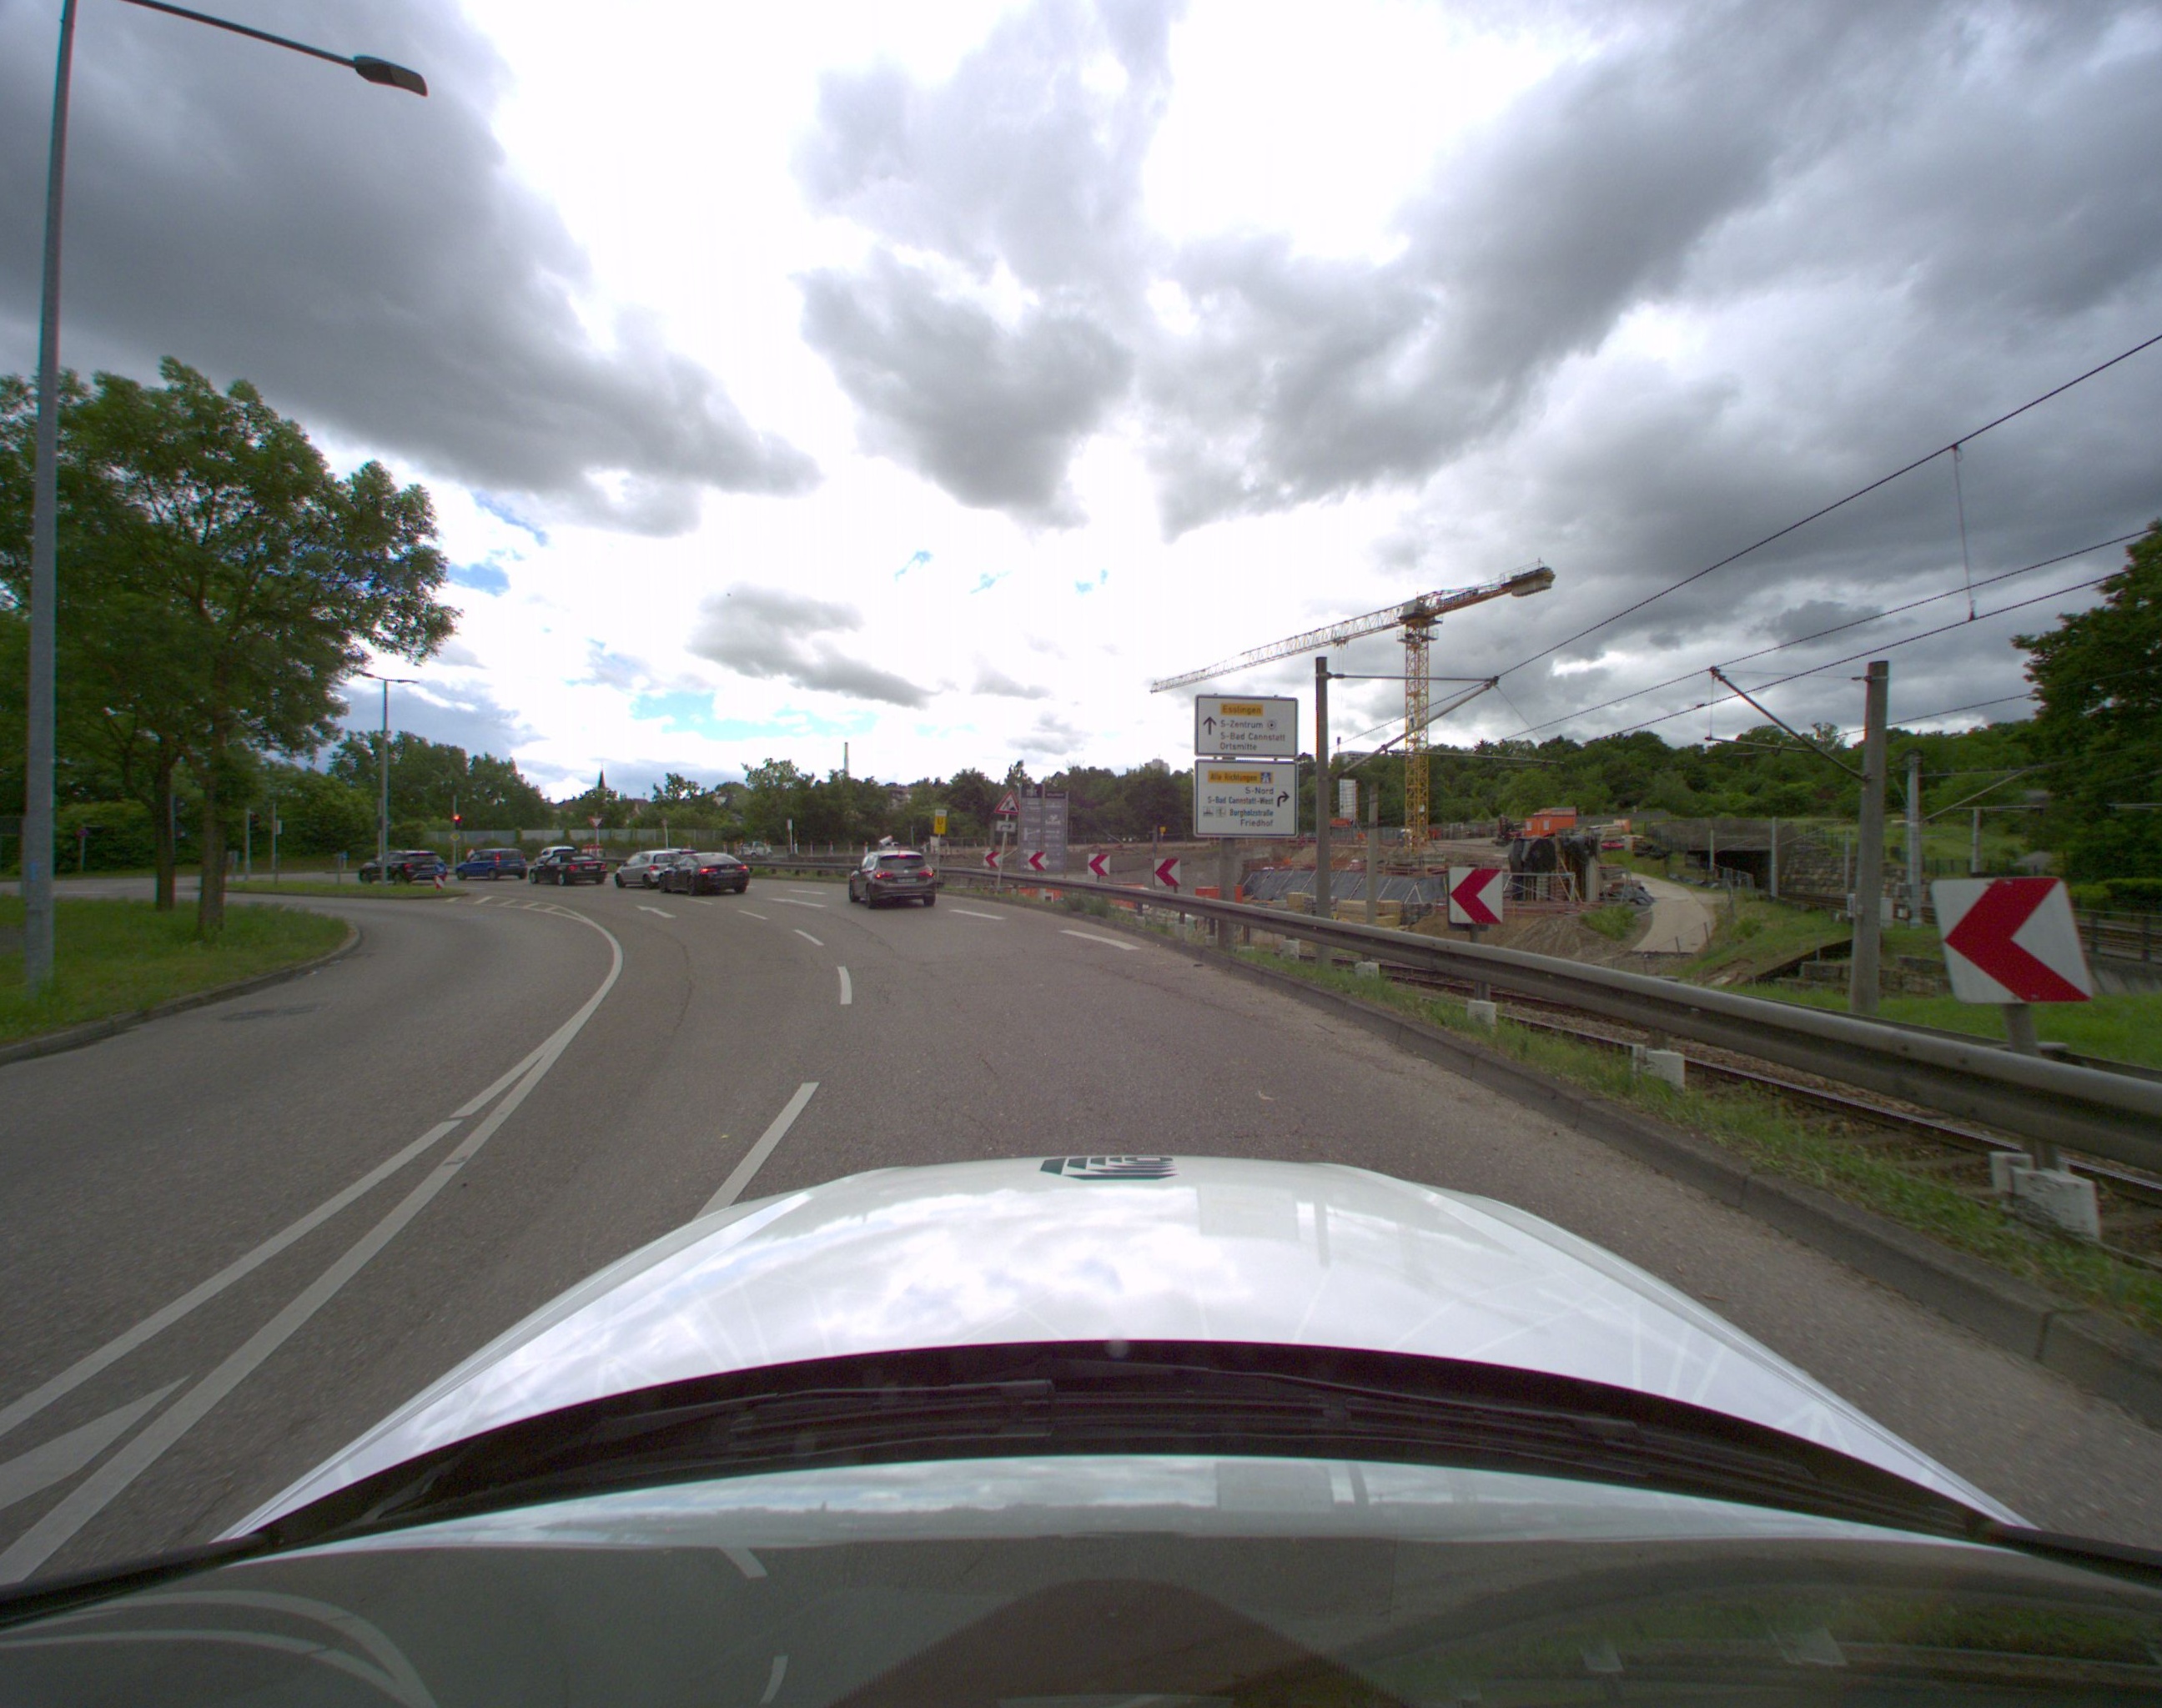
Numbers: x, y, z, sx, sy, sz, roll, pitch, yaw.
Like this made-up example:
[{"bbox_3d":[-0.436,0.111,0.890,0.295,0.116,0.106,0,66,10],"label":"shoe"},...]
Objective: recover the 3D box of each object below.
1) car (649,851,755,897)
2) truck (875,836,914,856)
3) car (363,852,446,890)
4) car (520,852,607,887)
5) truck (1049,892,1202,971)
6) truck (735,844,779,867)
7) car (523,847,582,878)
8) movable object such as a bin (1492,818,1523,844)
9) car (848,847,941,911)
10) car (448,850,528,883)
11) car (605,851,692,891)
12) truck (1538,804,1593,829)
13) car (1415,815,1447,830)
[{"bbox_3d":[-13.938,0.673,29.815,4.902,1.476,1.890,0,3,44],"label":"car"},{"bbox_3d":[-20.457,-0.858,89.413,1.975,2.014,4.022,1,-1,25],"label":"truck"},{"bbox_3d":[-30.755,0.738,37.011,3.721,1.507,1.672,0,4,30],"label":"car"},{"bbox_3d":[-22.992,0.678,36.173,4.031,1.368,1.579,-1,3,31],"label":"car"},{"bbox_3d":[2.628,4.840,53.799,2.862,3.893,11.483,0,2,-42],"label":"truck"},{"bbox_3d":[-29.282,0.167,73.669,1.718,2.014,3.246,1,-1,30],"label":"truck"},{"bbox_3d":[-30.444,0.506,46.874,3.948,1.675,1.728,-1,-1,39],"label":"car"},{"bbox_3d":[51.920,-2.809,99.057,1.842,3.077,2.780,-1,-1,-21],"label":"movable object such as a bin"},{"bbox_3d":[-5.367,0.624,23.053,1.806,1.552,3.968,-2,1,-24],"label":"car"},{"bbox_3d":[-29.031,0.585,39.885,3.340,1.507,1.556,0,2,21],"label":"car"},{"bbox_3d":[-17.830,0.654,33.532,3.581,1.469,1.685,0,4,36],"label":"car"},{"bbox_3d":[84.256,-6.474,141.620,9.804,4.220,3.097,-1,1,-23],"label":"truck"},{"bbox_3d":[52.391,-4.703,121.877,3.998,2.014,1.988,-1,-1,-18],"label":"car"}]
